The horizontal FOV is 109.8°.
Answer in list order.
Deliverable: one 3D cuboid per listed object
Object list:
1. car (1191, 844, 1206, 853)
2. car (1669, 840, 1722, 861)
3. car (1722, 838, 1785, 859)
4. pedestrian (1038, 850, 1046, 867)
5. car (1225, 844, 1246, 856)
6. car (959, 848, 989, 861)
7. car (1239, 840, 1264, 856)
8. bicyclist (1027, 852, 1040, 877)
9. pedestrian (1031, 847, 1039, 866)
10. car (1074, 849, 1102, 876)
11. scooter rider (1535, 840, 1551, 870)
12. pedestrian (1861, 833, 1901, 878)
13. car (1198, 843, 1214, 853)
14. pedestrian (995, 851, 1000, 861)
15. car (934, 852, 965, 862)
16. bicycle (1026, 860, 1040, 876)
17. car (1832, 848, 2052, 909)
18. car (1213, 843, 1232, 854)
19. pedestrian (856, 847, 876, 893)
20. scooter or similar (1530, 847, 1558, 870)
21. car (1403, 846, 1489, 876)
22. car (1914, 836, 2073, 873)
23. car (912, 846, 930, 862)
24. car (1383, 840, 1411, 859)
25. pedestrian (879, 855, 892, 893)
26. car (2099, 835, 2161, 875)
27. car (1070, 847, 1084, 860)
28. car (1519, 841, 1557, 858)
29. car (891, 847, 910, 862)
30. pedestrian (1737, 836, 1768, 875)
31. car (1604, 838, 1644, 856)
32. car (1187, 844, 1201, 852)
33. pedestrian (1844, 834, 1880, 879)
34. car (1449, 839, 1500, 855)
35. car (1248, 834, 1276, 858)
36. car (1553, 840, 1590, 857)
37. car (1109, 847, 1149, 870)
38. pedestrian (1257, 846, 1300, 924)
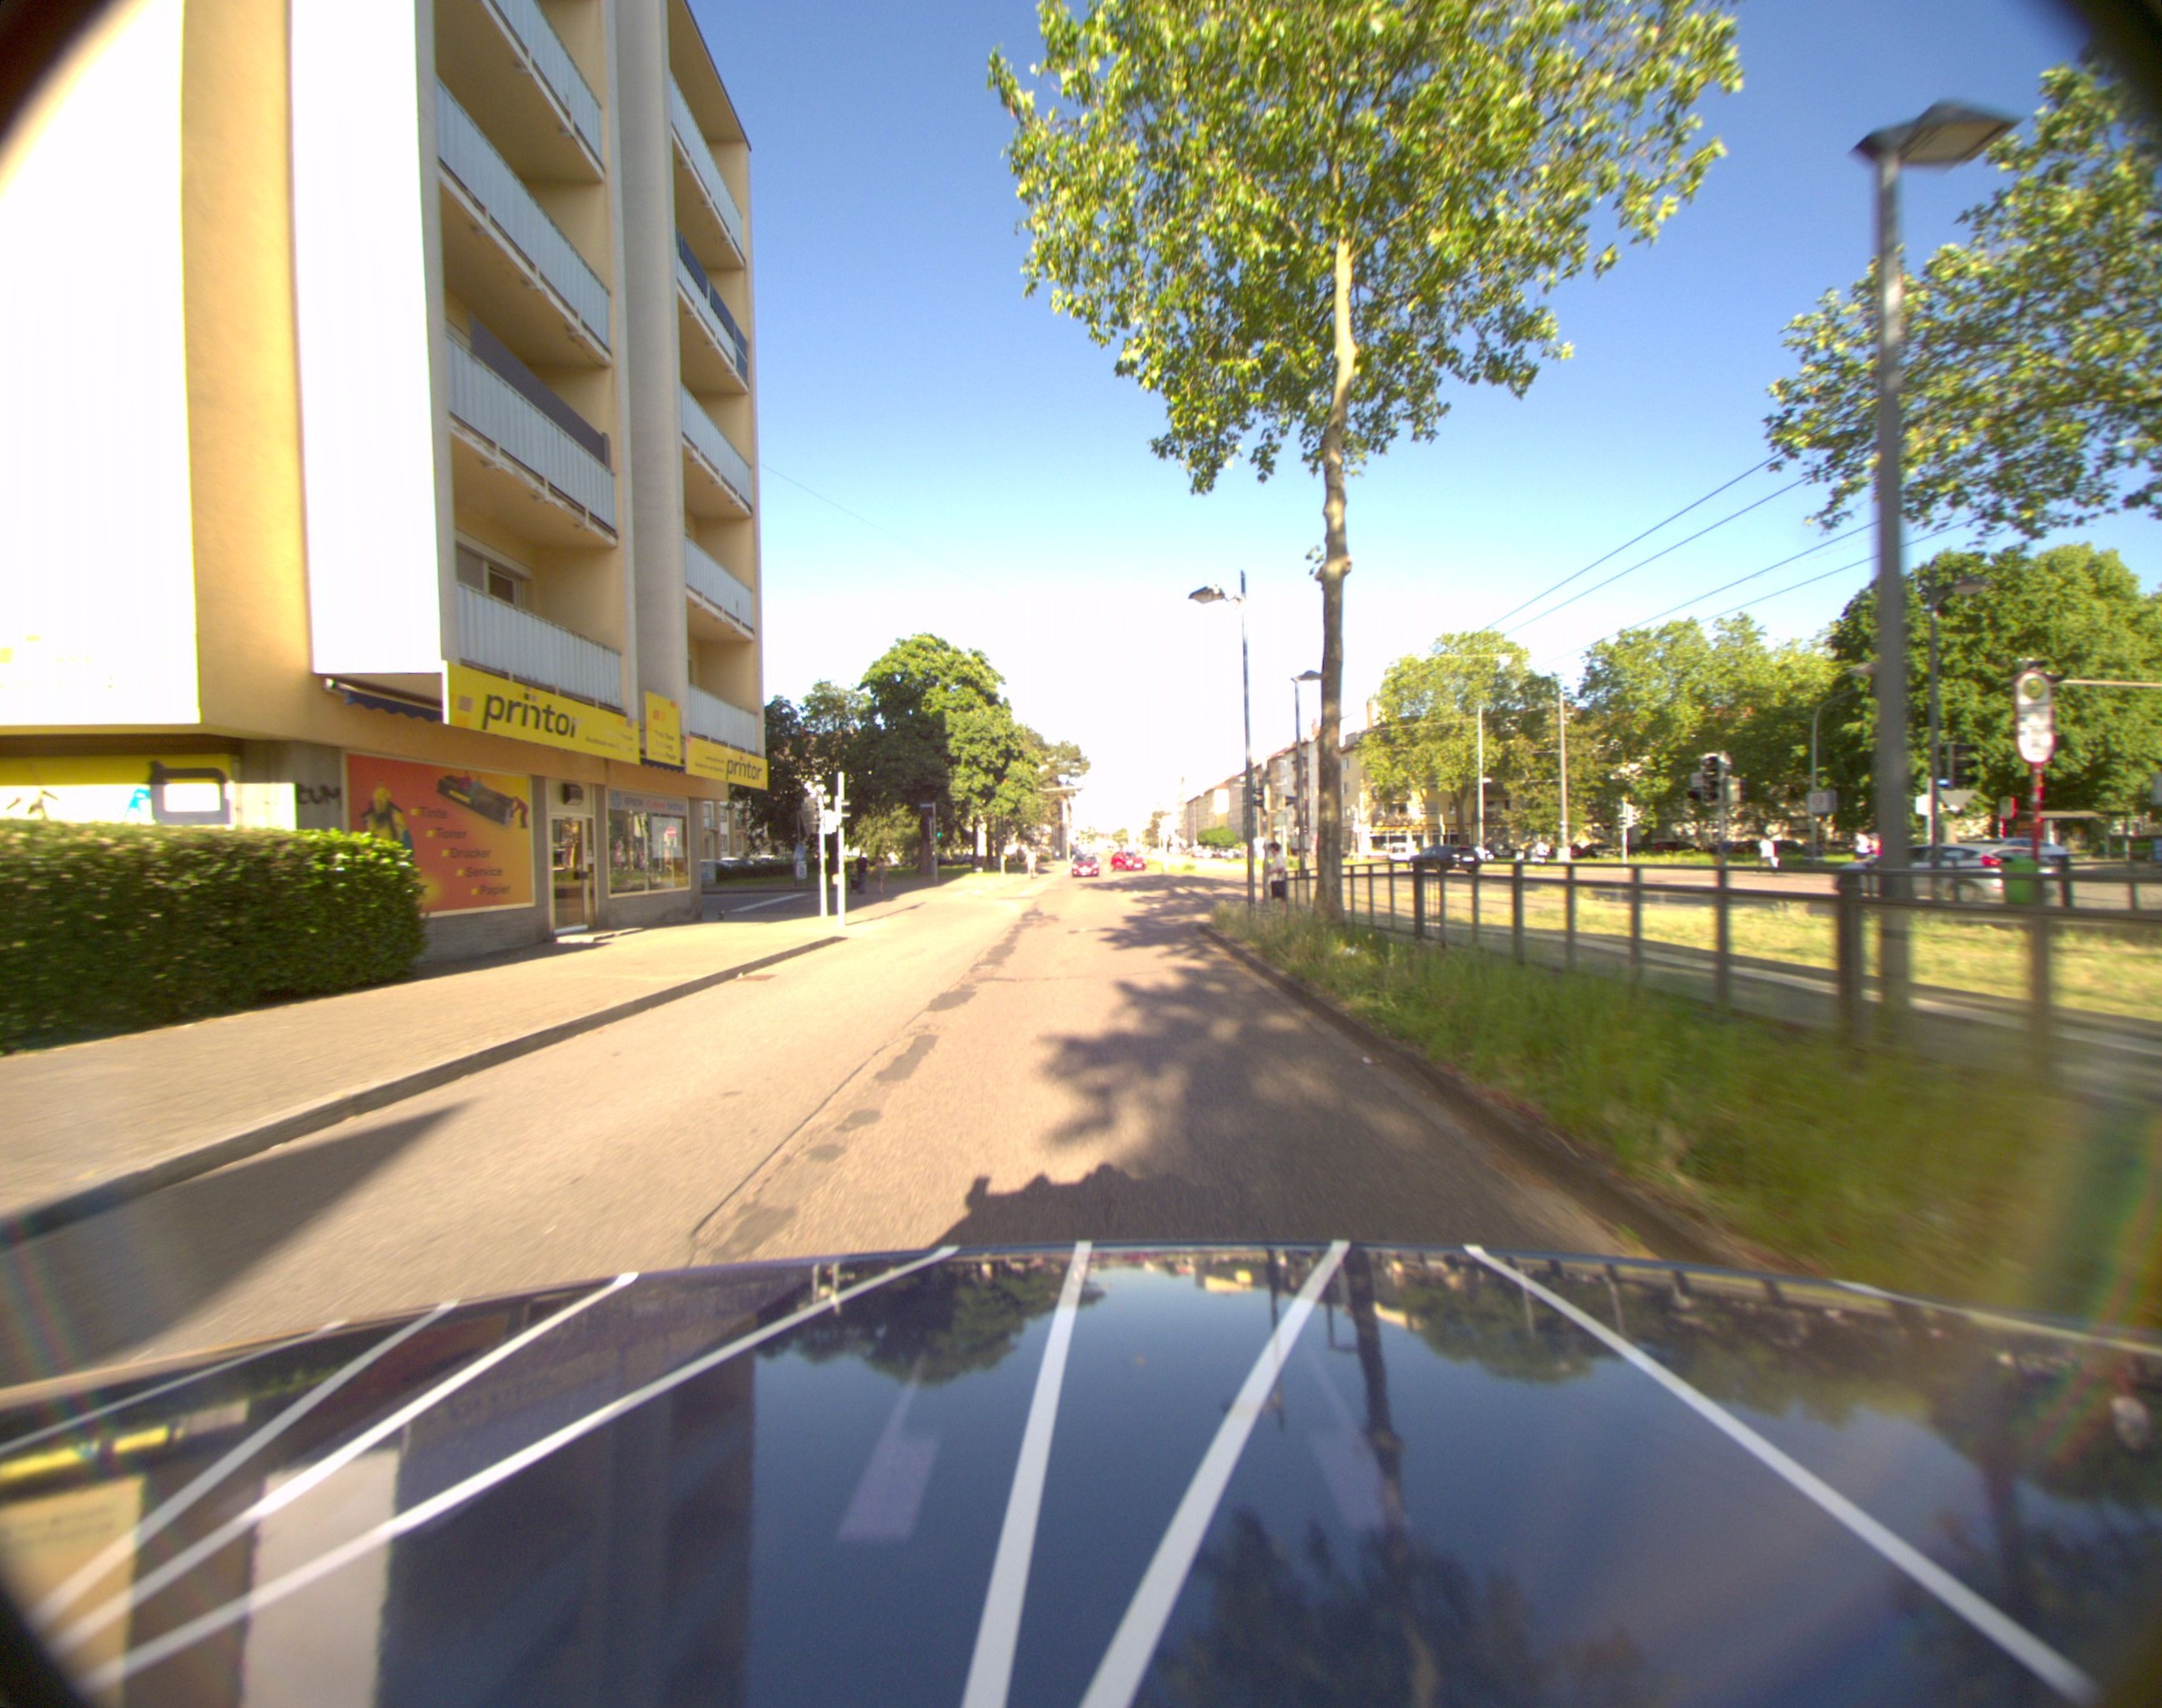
[{"bbox_3d":[23.055,-1.053,149.420,2.144,1.697,5.402,-1,1,1],"label":"car"},{"bbox_3d":[51.968,-0.293,64.352,1.996,1.695,3.938,-1,1,12],"label":"car"},{"bbox_3d":[51.686,-0.429,58.501,1.996,1.543,3.938,-1,1,12],"label":"car"},{"bbox_3d":[-3.524,0.392,68.273,0.596,1.518,0.633,-1,1,-9],"label":"pedestrian"},{"bbox_3d":[22.479,-0.636,110.841,2.144,1.697,5.157,-1,1,1],"label":"car"},{"bbox_3d":[-12.014,0.067,85.584,1.997,1.316,4.280,-1,1,10],"label":"car"},{"bbox_3d":[22.163,-0.831,99.113,2.144,2.022,5.157,-1,1,1],"label":"car"},{"bbox_3d":[-2.801,0.606,44.431,0.678,1.466,0.936,-1,1,-1],"label":"bicyclist"},{"bbox_3d":[-4.190,0.233,68.854,0.567,1.688,0.595,-2,1,-17],"label":"pedestrian"},{"bbox_3d":[0.472,0.481,46.278,1.619,1.537,4.277,-1,1,2],"label":"car"},{"bbox_3d":[26.830,0.050,44.119,0.596,1.686,0.573,-1,1,-5],"label":"scooter rider"},{"bbox_3d":[30.964,0.043,29.425,0.596,1.713,0.880,-1,1,-5],"label":"pedestrian"},{"bbox_3d":[22.379,-1.054,136.353,2.144,1.697,5.445,-1,1,1],"label":"car"},{"bbox_3d":[-9.398,0.205,85.654,0.459,1.072,0.613,-1,1,0],"label":"pedestrian"},{"bbox_3d":[-14.851,0.301,86.072,1.997,1.060,4.280,-1,1,10],"label":"car"},{"bbox_3d":[-2.796,0.816,44.453,0.684,0.925,1.736,-1,1,0],"label":"bicycle"},{"bbox_3d":[20.653,0.527,18.435,1.328,1.317,3.415,-1,1,-5],"label":"car"},{"bbox_3d":[22.459,-0.905,120.741,2.144,1.697,5.445,-1,1,1],"label":"car"},{"bbox_3d":[-8.650,0.618,30.575,0.790,1.817,1.032,0,2,-16],"label":"pedestrian"},{"bbox_3d":[26.843,0.258,44.075,0.598,1.302,1.540,-1,1,-4],"label":"scooter or similar"},{"bbox_3d":[19.264,0.333,40.358,1.956,1.433,4.525,-1,0,-7],"label":"car"},{"bbox_3d":[39.695,0.016,33.142,4.525,1.478,2.000,-1,1,1],"label":"car"},{"bbox_3d":[-18.580,-0.010,88.198,2.001,1.689,4.272,-1,1,-12],"label":"car"},{"bbox_3d":[32.346,-0.438,77.792,1.909,1.871,4.003,-1,1,12],"label":"car"},{"bbox_3d":[-7.948,0.802,30.869,0.505,1.537,0.518,0,2,-16],"label":"pedestrian"},{"bbox_3d":[48.287,0.004,33.629,3.997,1.705,1.787,-1,1,1],"label":"car"},{"bbox_3d":[-0.581,-0.121,112.045,1.998,1.806,3.999,-2,1,0],"label":"car"},{"bbox_3d":[43.980,-0.446,73.164,1.996,1.543,3.938,-1,1,12],"label":"car"},{"bbox_3d":[-21.133,0.073,88.835,2.001,1.689,4.271,-1,1,-16],"label":"car"},{"bbox_3d":[29.760,0.047,33.680,0.596,1.686,0.880,-1,1,-5],"label":"pedestrian"},{"bbox_3d":[50.900,-0.672,71.290,1.674,1.598,3.938,-1,1,12],"label":"car"},{"bbox_3d":[23.204,-1.284,156.453,2.144,1.697,5.402,-1,1,1],"label":"car"},{"bbox_3d":[29.792,0.092,28.990,0.596,1.672,0.747,-1,1,-5],"label":"pedestrian"},{"bbox_3d":[35.623,-0.660,68.909,3.990,1.429,1.720,0,2,24],"label":"car"},{"bbox_3d":[21.875,-1.007,91.918,2.230,2.808,5.228,-1,1,1],"label":"car"},{"bbox_3d":[40.548,-0.456,62.922,1.641,1.300,4.005,0,1,19],"label":"car"},{"bbox_3d":[3.497,0.309,55.540,1.545,1.522,3.596,-3,1,-19],"label":"car"},{"bbox_3d":[3.953,0.601,15.252,0.660,1.520,0.538,-1,1,-6],"label":"pedestrian"}]
